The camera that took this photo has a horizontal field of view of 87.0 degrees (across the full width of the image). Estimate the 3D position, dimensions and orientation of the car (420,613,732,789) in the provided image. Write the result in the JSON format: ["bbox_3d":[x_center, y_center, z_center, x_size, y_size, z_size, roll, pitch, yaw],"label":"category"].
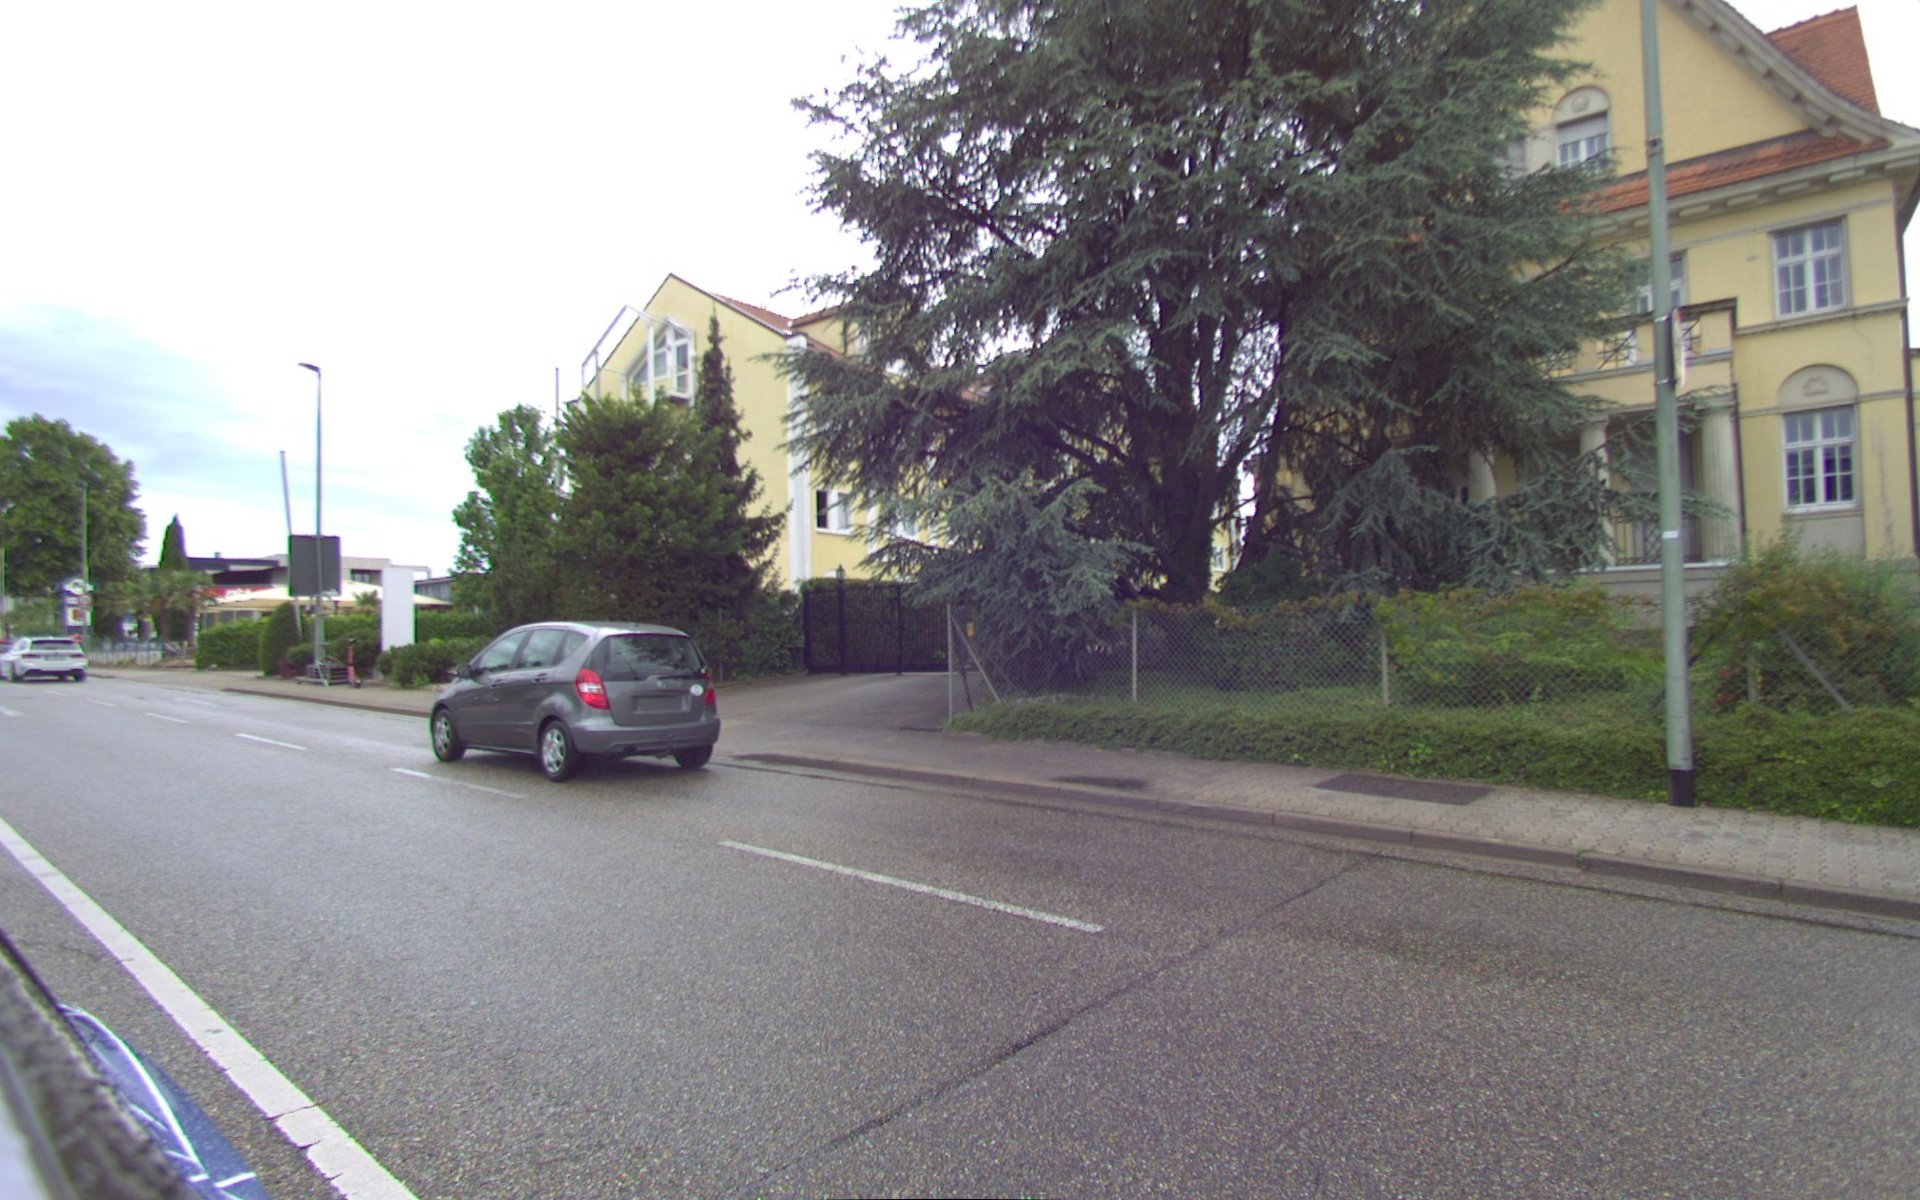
[{"bbox_3d":[-4.286,0.970,11.108,3.546,1.611,1.682,-1,-2,39],"label":"car"}]

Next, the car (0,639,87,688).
[{"bbox_3d":[-30.177,2.027,33.028,4.427,1.471,1.768,-2,-3,39],"label":"car"}]

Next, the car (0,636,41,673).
[{"bbox_3d":[-41.415,2.338,43.954,3.777,1.487,1.678,-1,-2,39],"label":"car"}]

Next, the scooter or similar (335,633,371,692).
[{"bbox_3d":[-15.257,1.543,25.410,0.498,1.416,1.884,1,-2,-39],"label":"scooter or similar"}]
